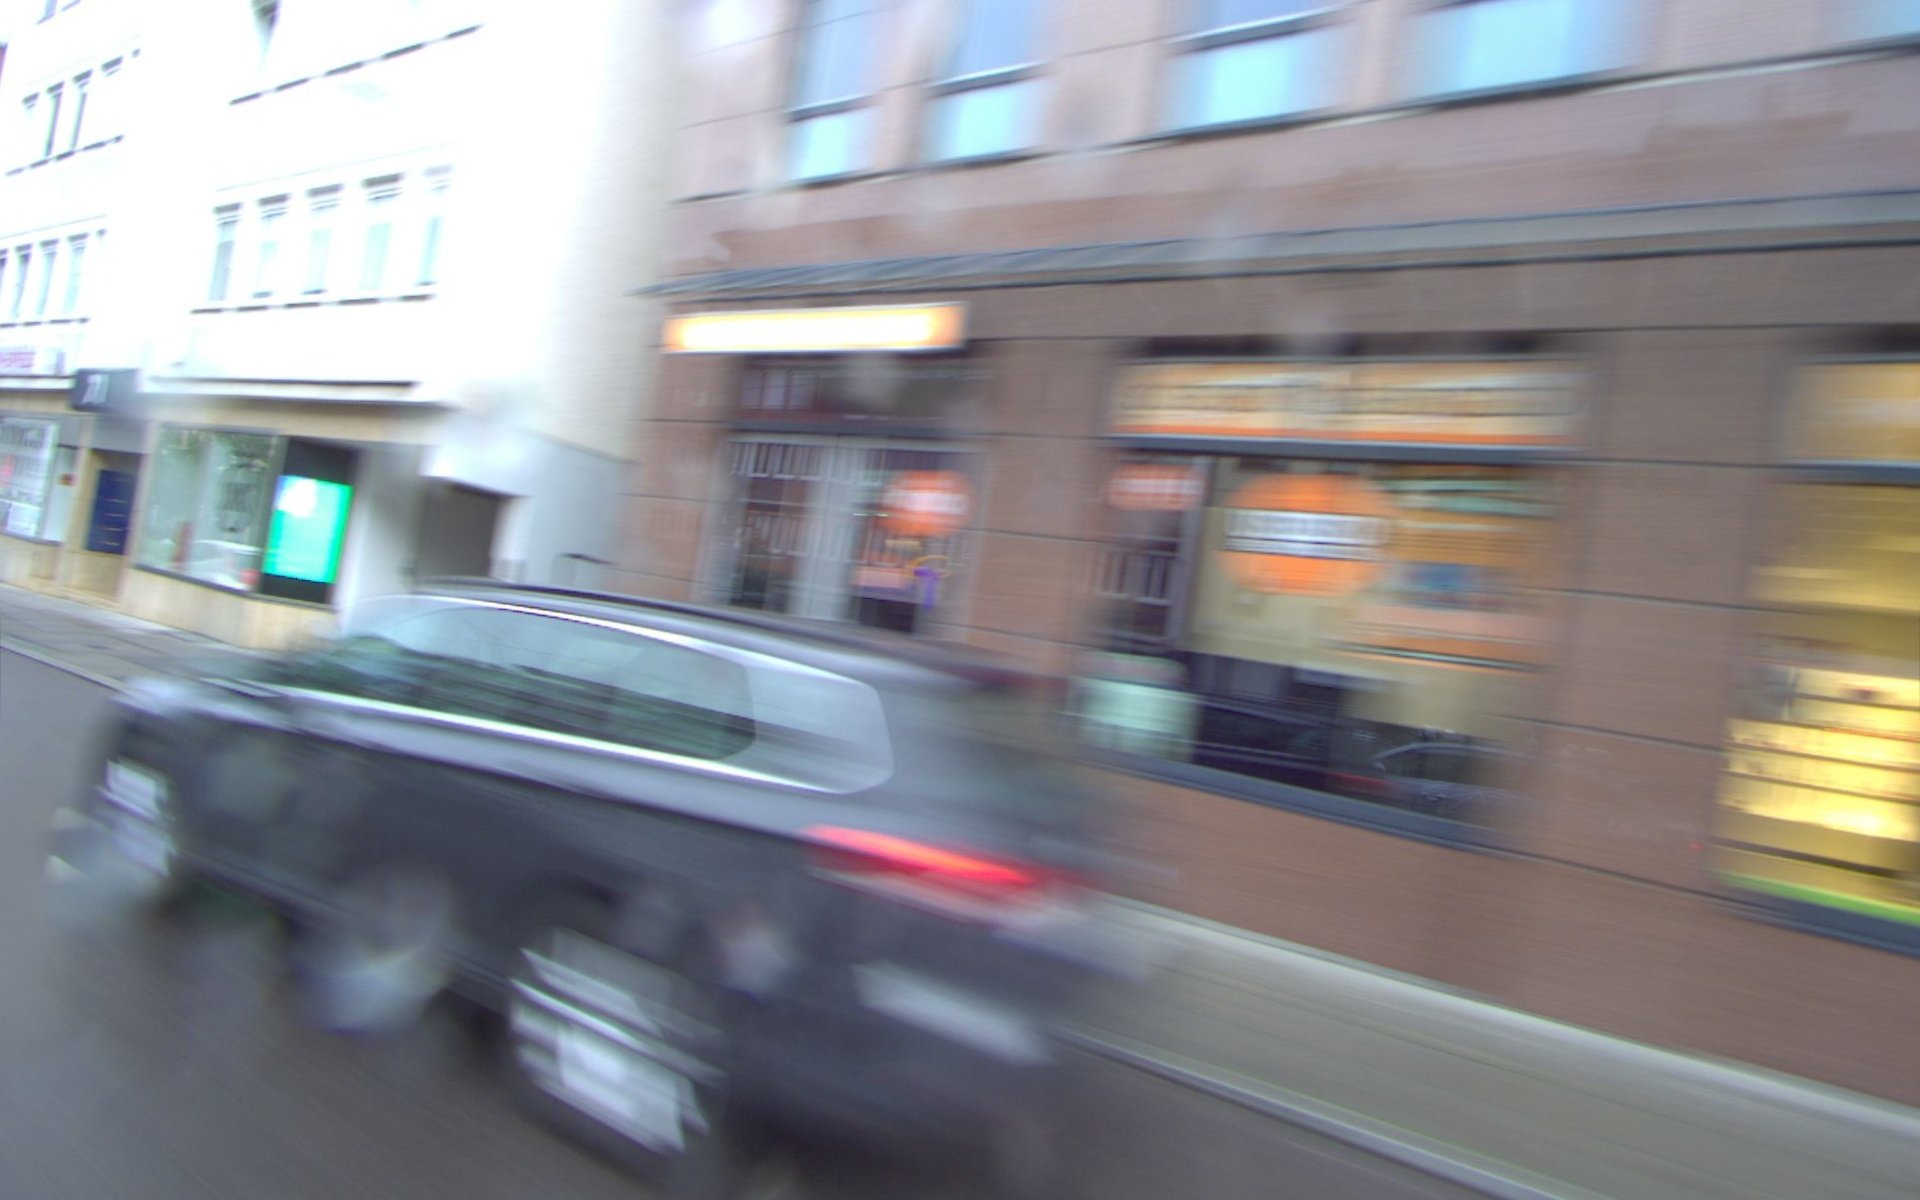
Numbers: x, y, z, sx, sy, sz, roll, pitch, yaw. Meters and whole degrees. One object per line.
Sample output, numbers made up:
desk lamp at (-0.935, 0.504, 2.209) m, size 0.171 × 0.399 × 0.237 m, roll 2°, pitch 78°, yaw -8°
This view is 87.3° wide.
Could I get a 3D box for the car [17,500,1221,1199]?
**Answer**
car at (-1.537, 0.632, 3.950) m, size 4.531 × 1.484 × 1.779 m, roll 7°, pitch -3°, yaw 30°
